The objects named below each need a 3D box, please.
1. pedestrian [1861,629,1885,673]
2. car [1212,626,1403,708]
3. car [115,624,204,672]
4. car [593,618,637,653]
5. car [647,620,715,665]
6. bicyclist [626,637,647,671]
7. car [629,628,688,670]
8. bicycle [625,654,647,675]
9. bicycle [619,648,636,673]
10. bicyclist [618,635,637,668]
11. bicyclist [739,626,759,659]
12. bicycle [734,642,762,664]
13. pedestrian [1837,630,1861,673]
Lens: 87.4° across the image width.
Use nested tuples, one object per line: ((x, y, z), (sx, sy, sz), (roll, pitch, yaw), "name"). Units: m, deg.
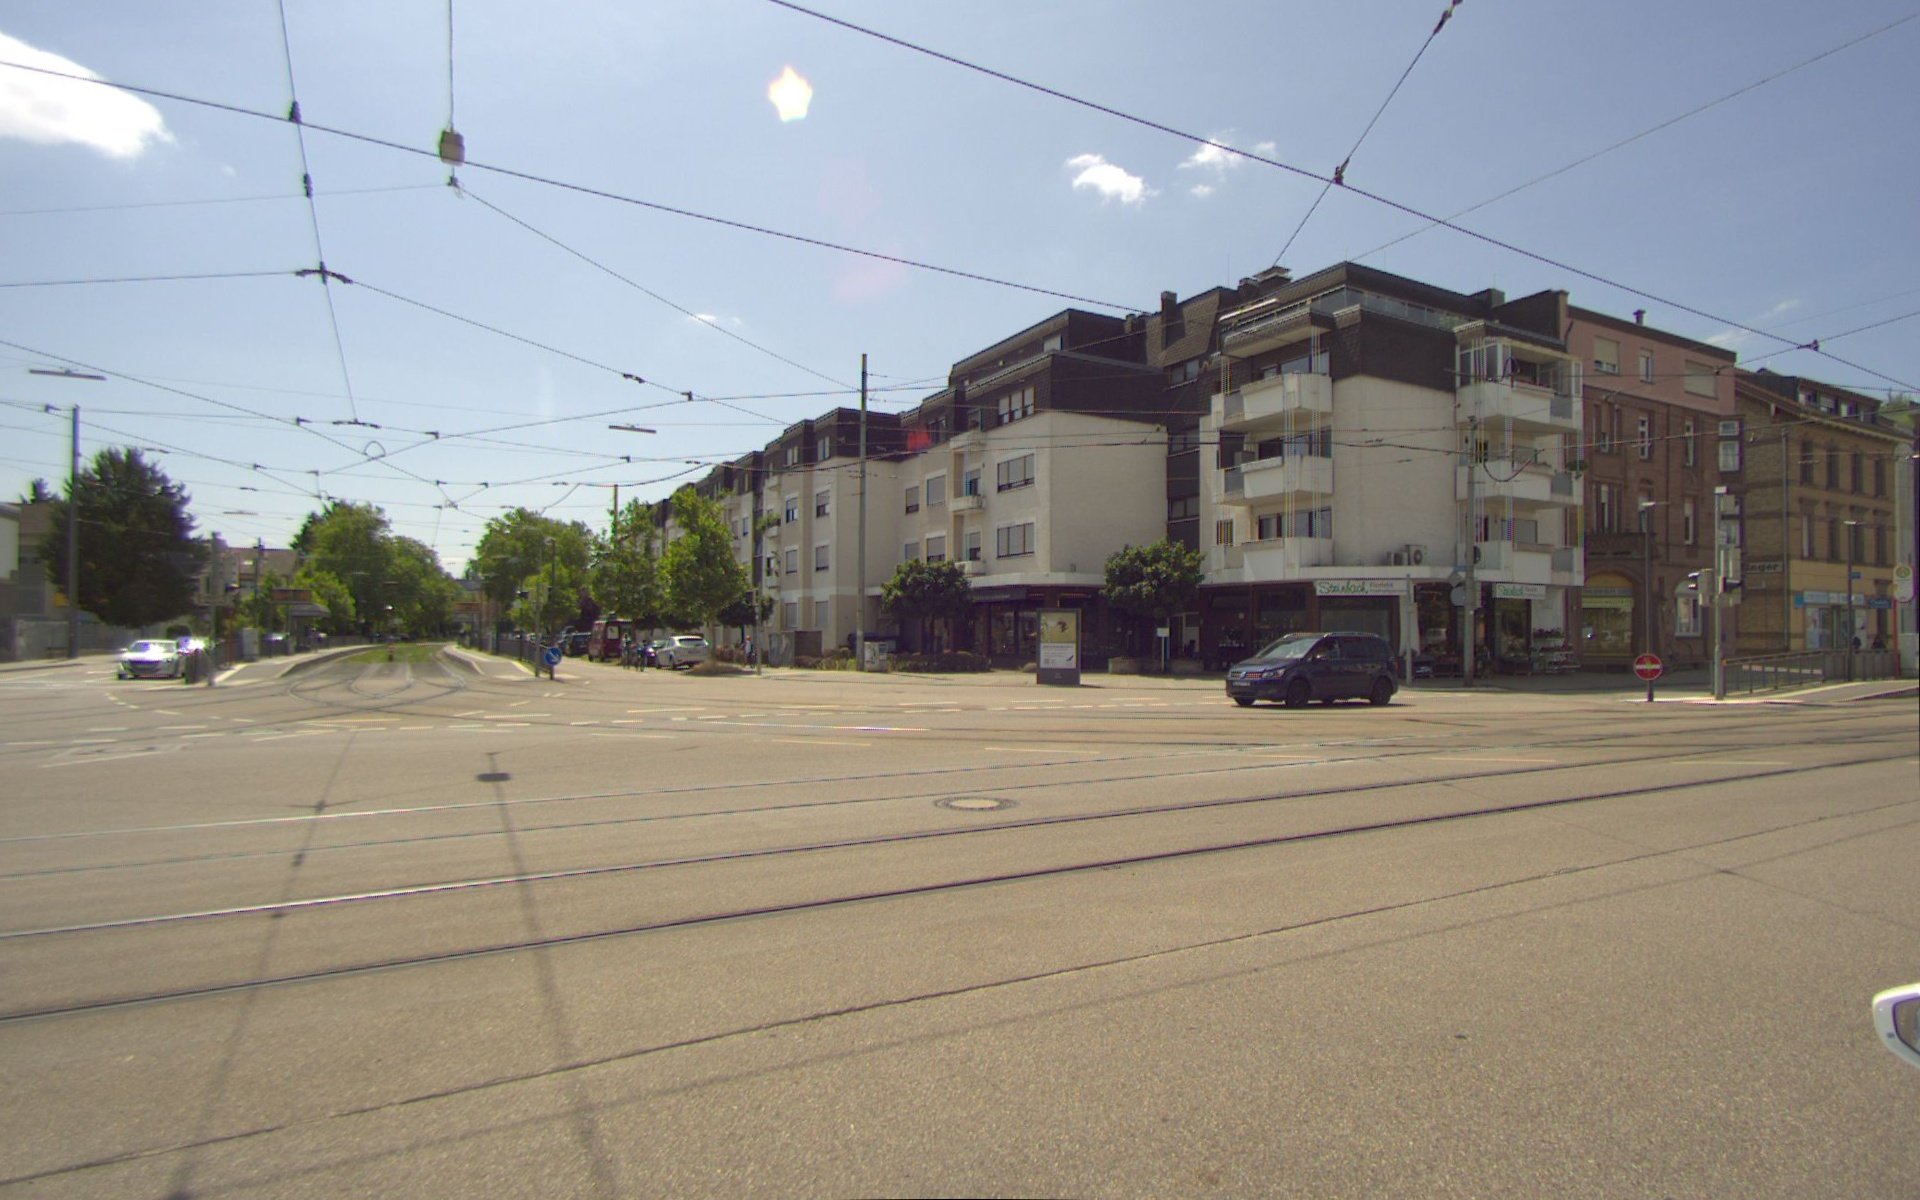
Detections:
((43.430, 2.422, 47.787), (0.677, 2.040, 0.673), (2, -1, -31), "pedestrian")
((7.842, 1.473, 22.597), (4.228, 1.705, 1.716), (2, -2, -30), "car")
((-30.473, 1.881, 38.373), (1.876, 1.747, 3.828), (2, -4, -27), "car")
((-20.826, 2.145, 60.499), (1.974, 2.040, 3.973), (1, -3, -27), "car")
((-12.669, 1.931, 45.470), (1.977, 1.937, 3.968), (1, -3, -30), "car")
((-13.964, 2.347, 43.353), (0.624, 1.441, 0.956), (2, -4, -32), "bicyclist")
((-15.316, 2.503, 50.906), (1.977, 2.039, 3.969), (2, -4, -30), "car")
((-14.020, 2.798, 43.443), (0.414, 0.892, 2.239), (2, -4, -31), "bicycle")
((-15.717, 2.867, 47.424), (0.510, 1.115, 2.245), (2, -4, -24), "bicycle")
((-15.569, 2.431, 47.085), (0.727, 1.506, 0.848), (2, -4, -25), "bicyclist")
((-9.519, 1.922, 45.278), (0.648, 1.487, 0.843), (2, -4, -27), "bicyclist")
((-9.585, 2.422, 45.389), (0.663, 0.946, 2.243), (2, -4, -27), "bicycle")
((42.872, 2.483, 48.429), (0.801, 2.040, 0.614), (1, -2, -32), "pedestrian")
